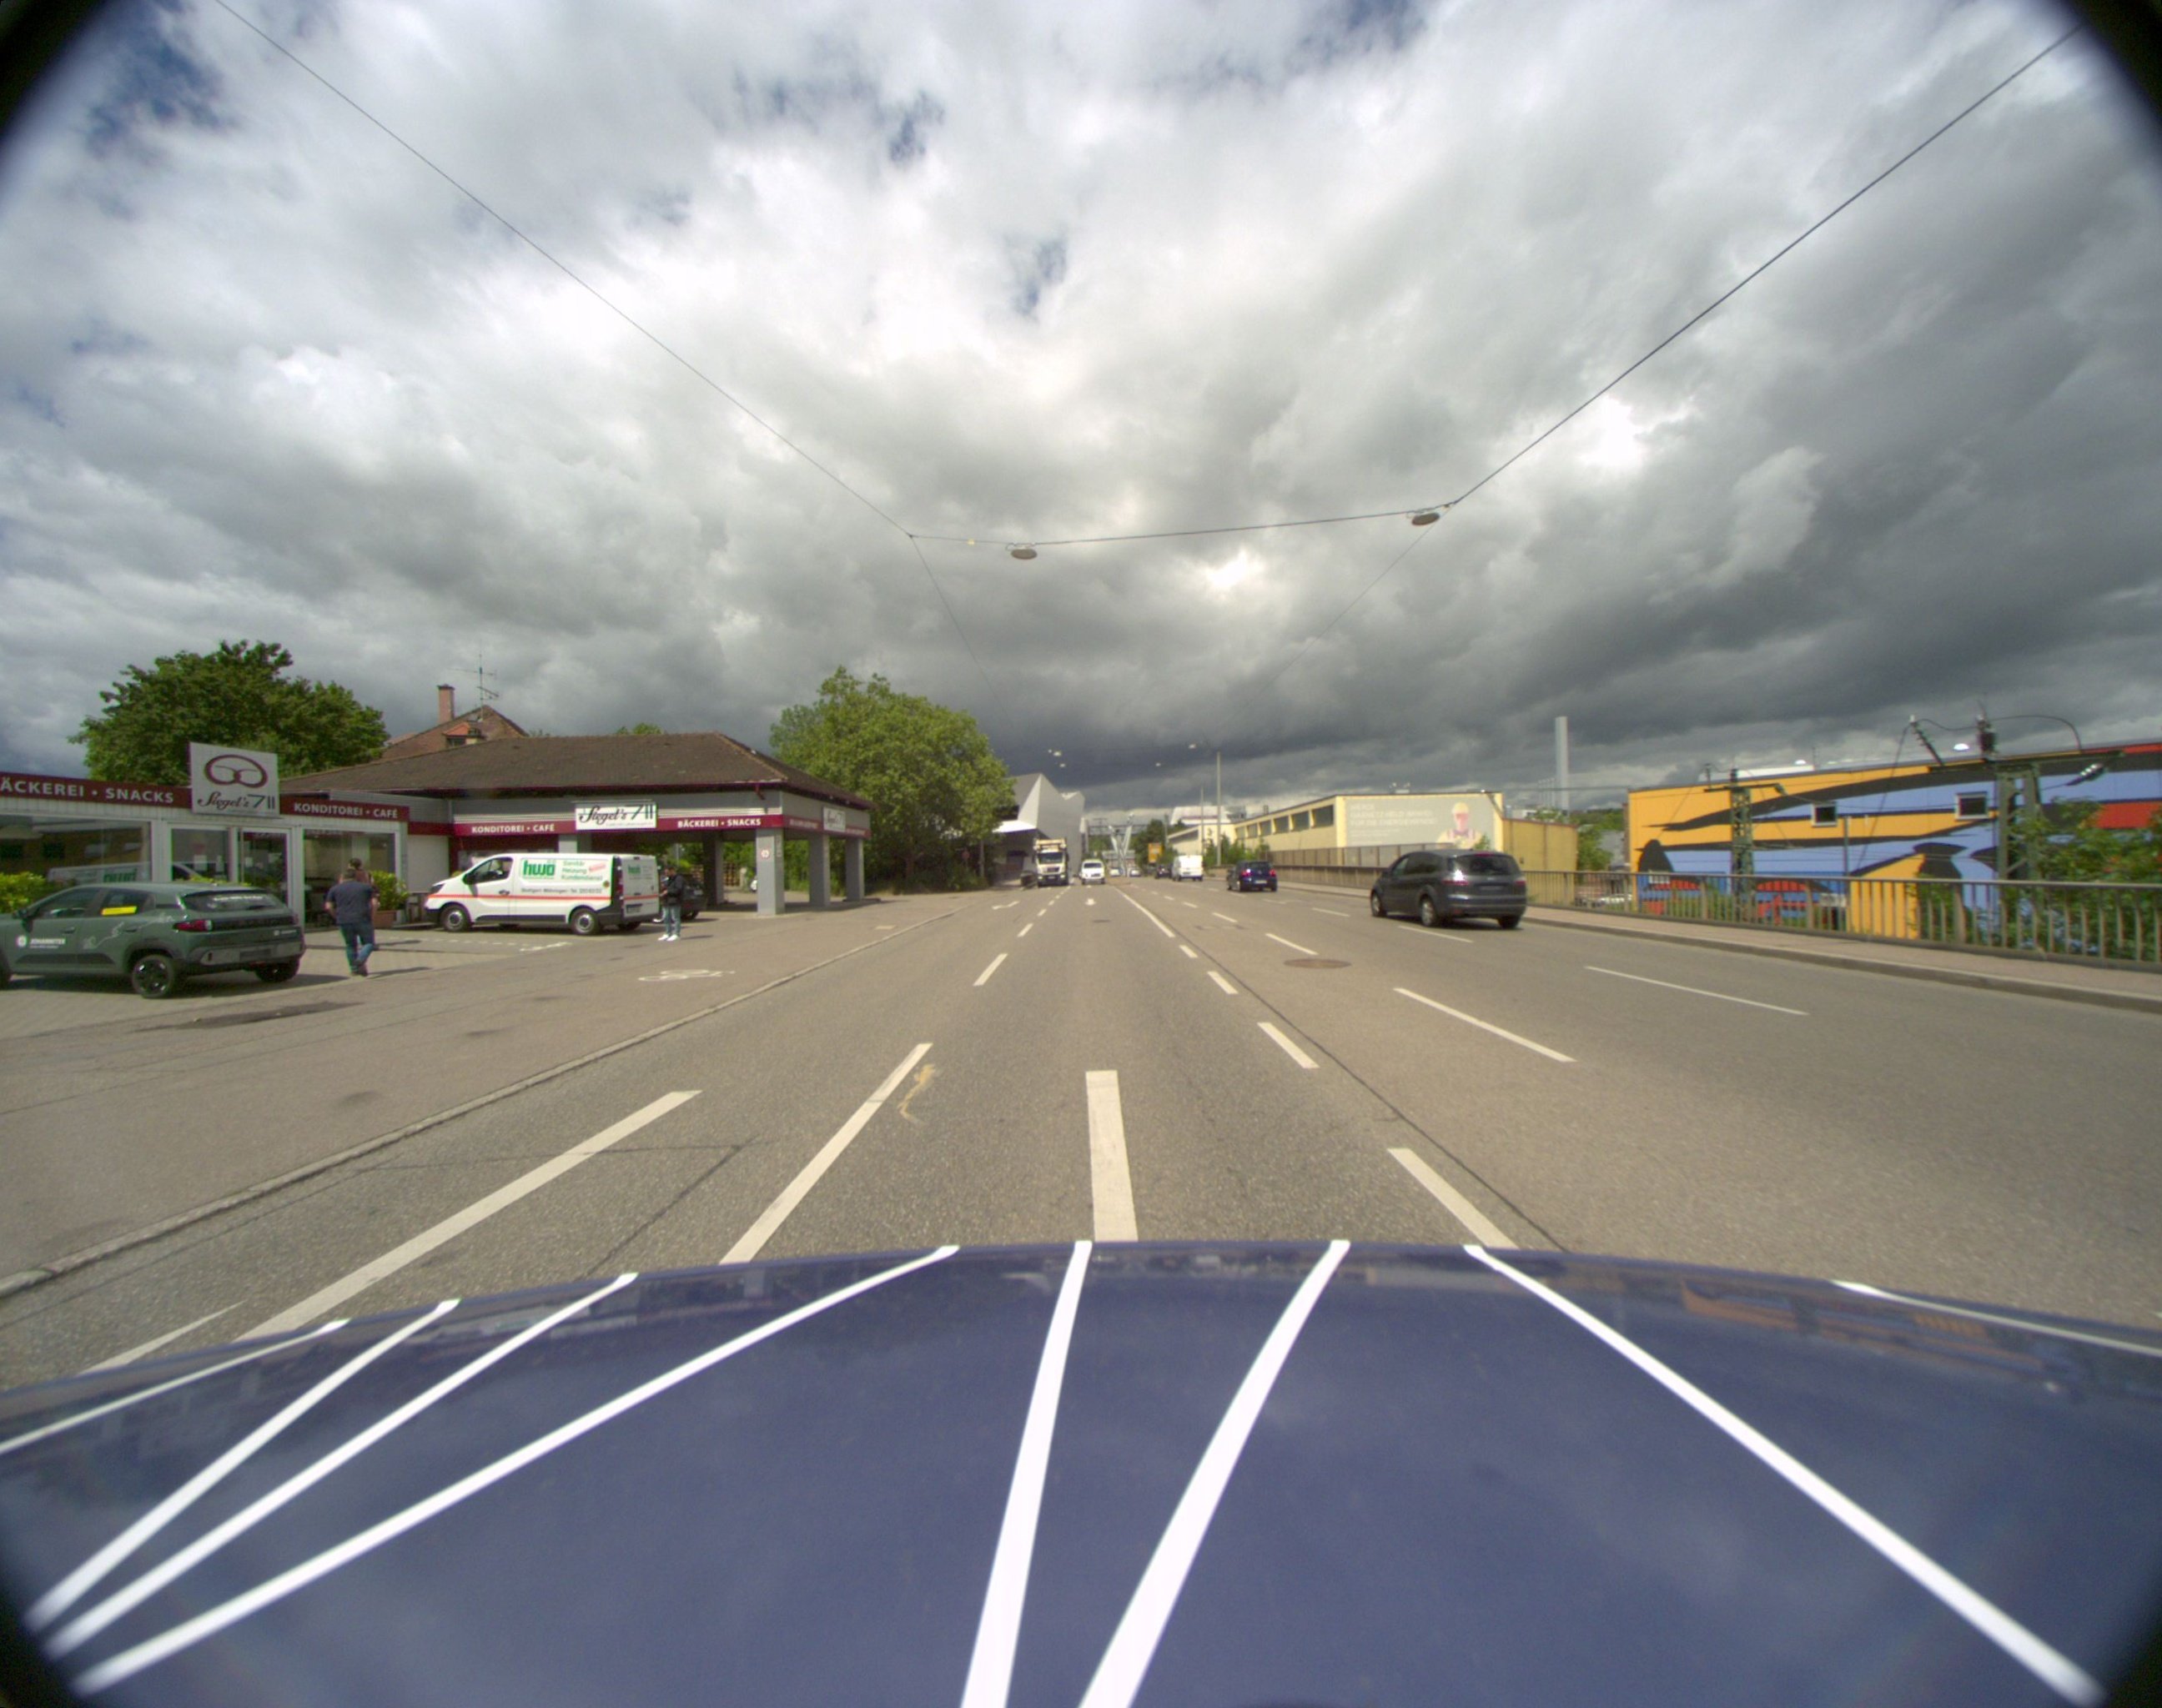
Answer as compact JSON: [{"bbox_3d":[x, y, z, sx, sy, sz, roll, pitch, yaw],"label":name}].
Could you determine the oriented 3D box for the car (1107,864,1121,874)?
[{"bbox_3d":[5.159,2.310,118.253,1.806,1.543,3.770,-2,0,-3],"label":"car"}]

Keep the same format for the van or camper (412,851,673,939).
[{"bbox_3d":[-13.159,0.948,18.830,4.909,1.946,2.212,1,1,1],"label":"van or camper"}]

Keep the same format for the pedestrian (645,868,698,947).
[{"bbox_3d":[-9.056,1.170,16.836,0.714,1.697,0.739,-2,0,1],"label":"pedestrian"}]

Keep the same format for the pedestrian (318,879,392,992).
[{"bbox_3d":[-11.389,1.252,11.924,0.712,1.697,0.631,-1,0,28],"label":"pedestrian"}]

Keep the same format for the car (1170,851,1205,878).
[{"bbox_3d":[8.330,0.824,59.782,1.896,2.002,5.650,-2,0,0],"label":"car"}]

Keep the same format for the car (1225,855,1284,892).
[{"bbox_3d":[8.060,0.886,35.689,1.861,1.608,4.000,-2,0,1],"label":"car"}]

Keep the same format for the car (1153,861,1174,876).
[{"bbox_3d":[8.184,1.464,75.423,1.612,1.404,3.799,-2,0,-1],"label":"car"}]

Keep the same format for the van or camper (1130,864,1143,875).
[{"bbox_3d":[11.249,3.116,154.815,2.164,2.108,5.471,-1,-1,-1],"label":"van or camper"}]

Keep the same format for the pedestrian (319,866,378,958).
[{"bbox_3d":[-14.046,1.095,14.574,0.749,1.697,0.571,-1,0,28],"label":"pedestrian"}]

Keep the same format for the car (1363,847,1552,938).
[{"bbox_3d":[8.085,0.748,16.898,1.916,1.692,4.625,1,0,1],"label":"car"}]

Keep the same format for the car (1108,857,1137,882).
[{"bbox_3d":[3.108,1.148,57.306,1.870,1.781,4.208,-1,0,0],"label":"car"}]

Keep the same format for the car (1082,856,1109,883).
[{"bbox_3d":[1.219,1.230,61.539,1.935,2.078,4.209,-1,0,3],"label":"car"}]

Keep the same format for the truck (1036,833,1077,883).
[{"bbox_3d":[-1.959,0.342,64.279,2.836,3.888,10.367,-1,0,2],"label":"truck"}]

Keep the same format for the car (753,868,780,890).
[{"bbox_3d":[-27.741,2.159,67.009,2.003,1.709,4.104,3,-1,-23],"label":"car"}]

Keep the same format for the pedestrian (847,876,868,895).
[{"bbox_3d":[-15.003,2.098,51.025,0.884,1.241,0.967,-2,0,29],"label":"pedestrian"}]

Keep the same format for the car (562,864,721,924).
[{"bbox_3d":[-12.535,1.121,21.836,3.460,1.477,1.835,3,1,-2],"label":"car"}]

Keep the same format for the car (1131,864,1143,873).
[{"bbox_3d":[8.840,2.298,119.926,1.612,1.404,3.799,-1,-1,-1],"label":"car"}]

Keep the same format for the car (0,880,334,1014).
[{"bbox_3d":[-13.162,1.215,10.654,3.675,1.477,1.762,3,1,3],"label":"car"}]
